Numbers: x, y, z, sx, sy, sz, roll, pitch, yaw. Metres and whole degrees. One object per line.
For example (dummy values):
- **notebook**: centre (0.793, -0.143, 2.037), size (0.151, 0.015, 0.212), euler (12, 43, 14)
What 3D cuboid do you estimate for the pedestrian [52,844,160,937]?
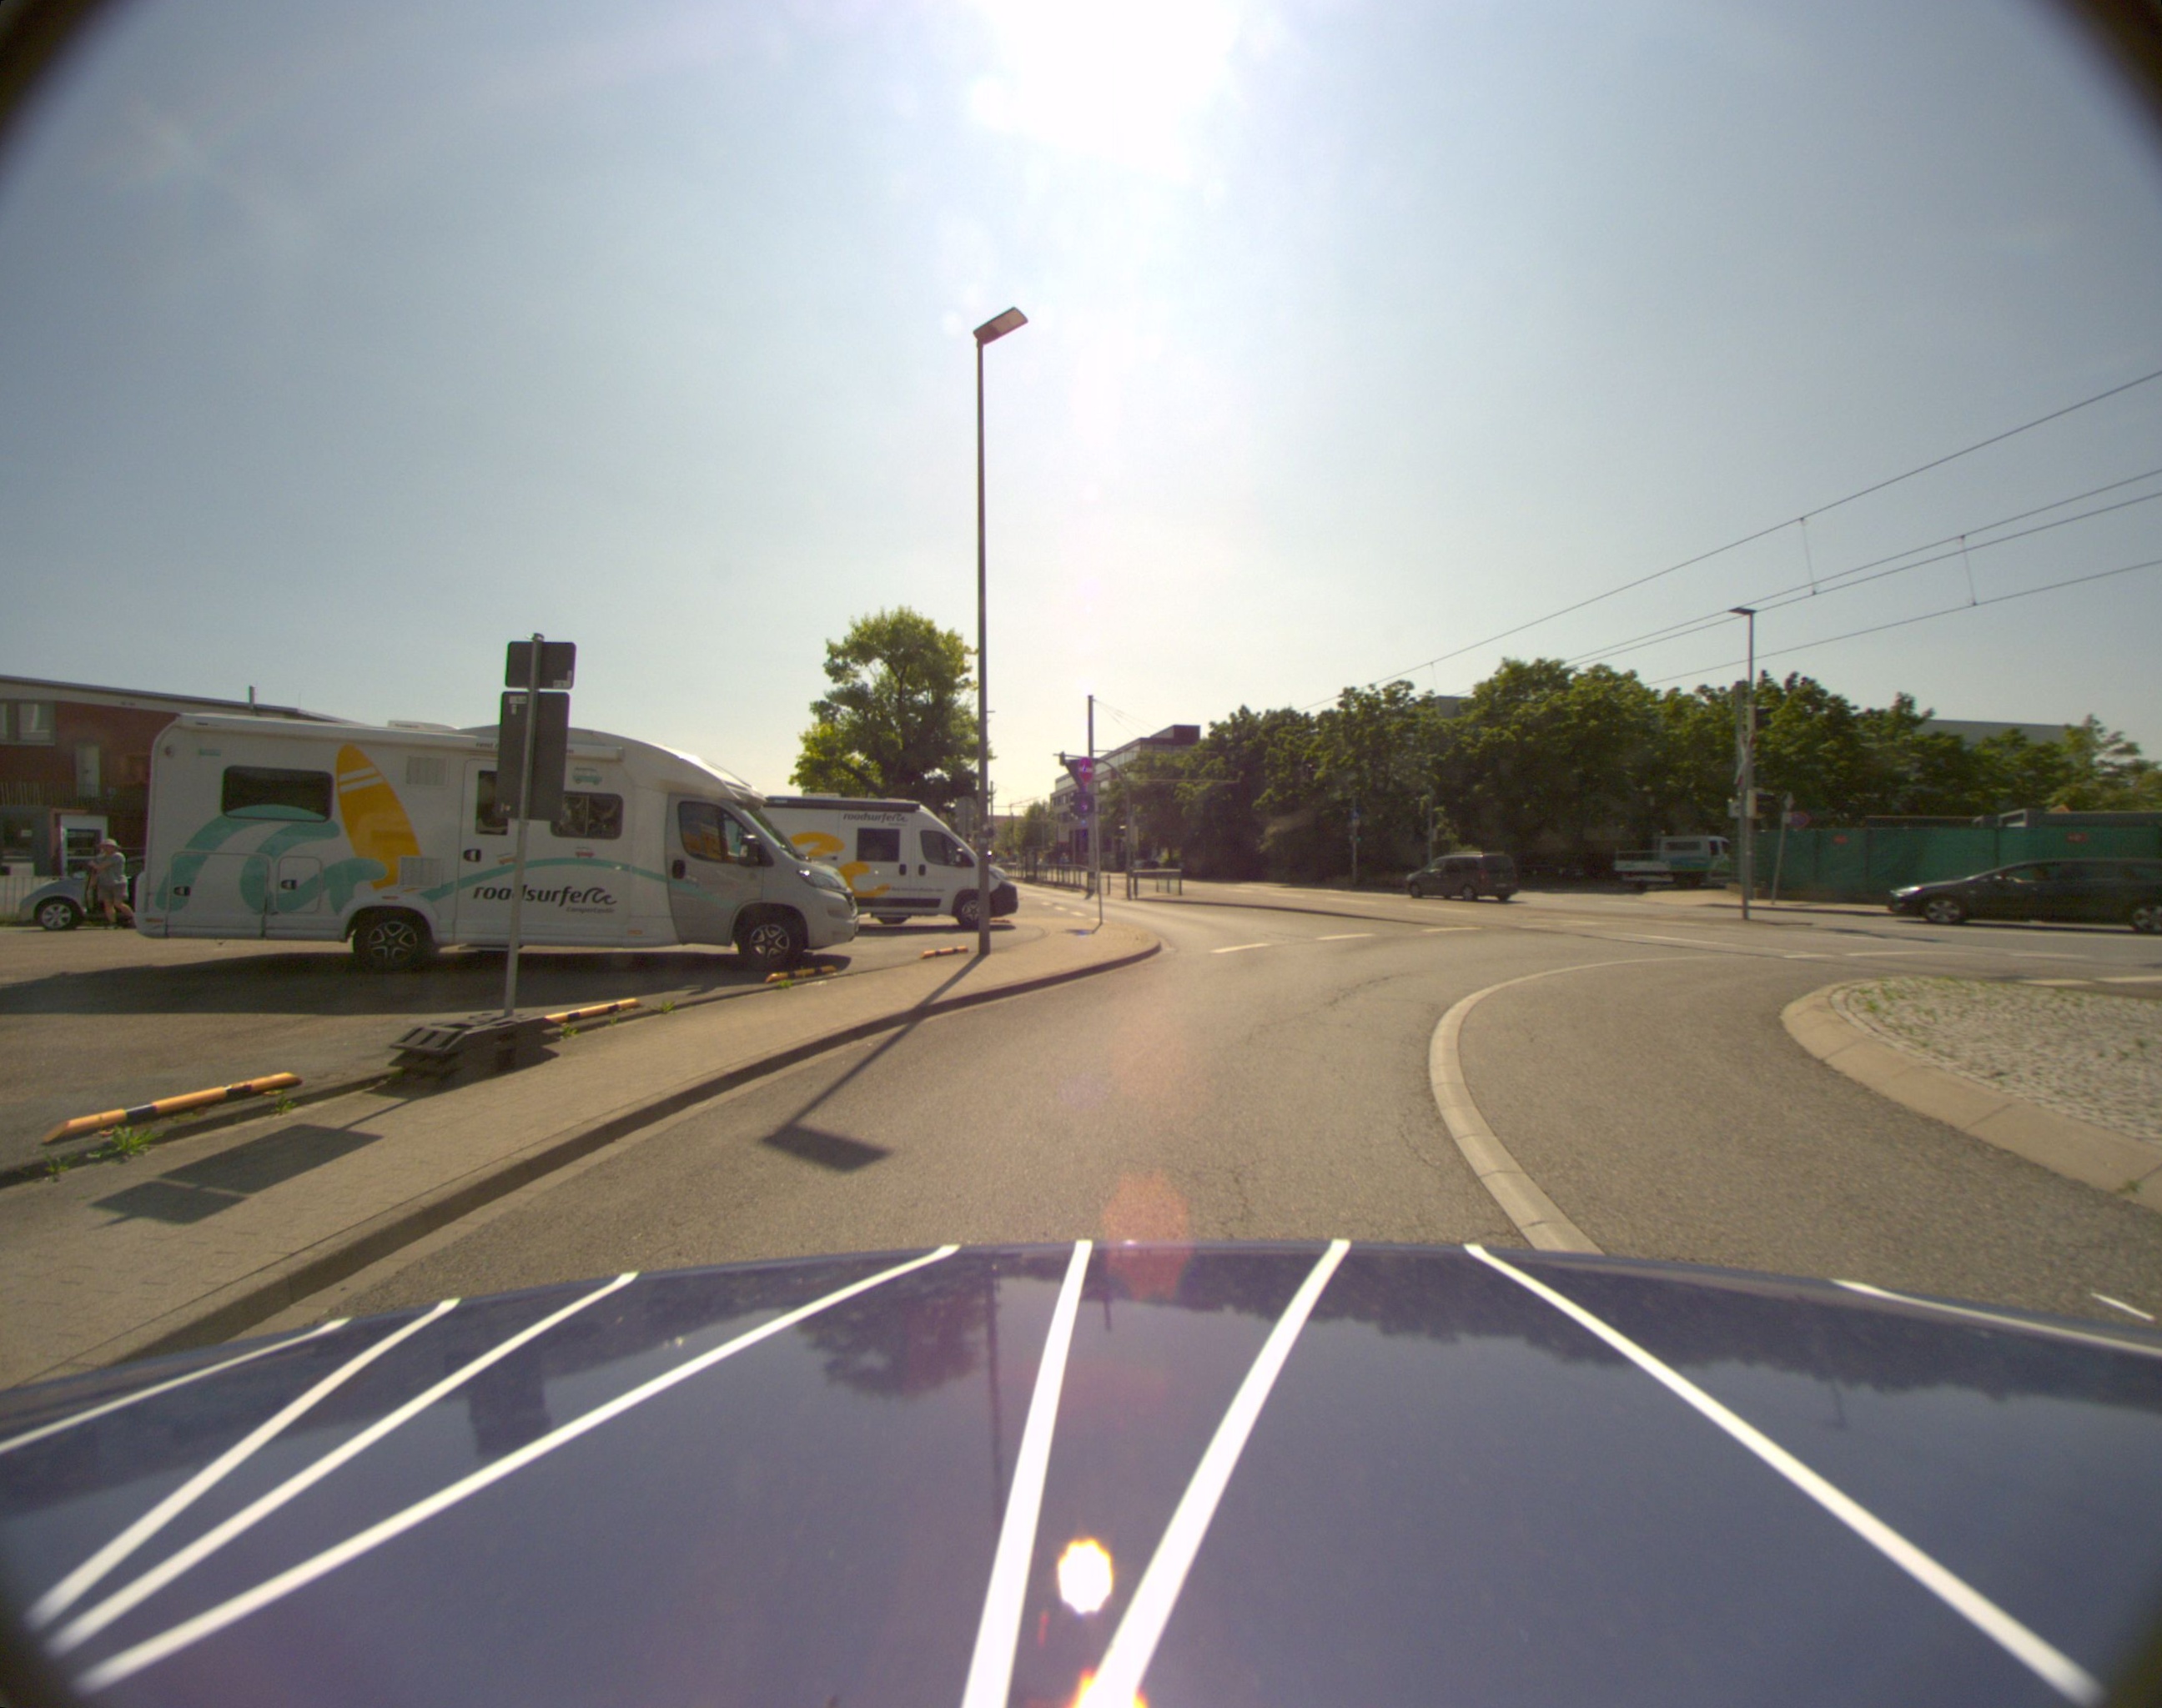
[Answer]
- **pedestrian**: centre (-17.981, 0.649, 14.040), size (0.777, 1.661, 0.945), euler (0, 0, -1)

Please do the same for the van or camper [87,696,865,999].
- **van or camper**: centre (-6.423, 0.015, 9.293), size (7.088, 2.929, 2.332), euler (1, 0, -13)

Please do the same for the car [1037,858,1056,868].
- **car**: centre (-5.116, 1.285, 111.446), size (1.914, 1.433, 4.590), euler (1, -1, -13)

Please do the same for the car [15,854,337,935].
- **car**: centre (-18.378, 0.803, 15.686), size (3.898, 1.506, 1.815), euler (0, -3, -16)

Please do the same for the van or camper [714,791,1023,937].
- **van or camper**: centre (-4.229, 0.225, 15.878), size (5.831, 2.757, 2.089), euler (0, -1, -10)

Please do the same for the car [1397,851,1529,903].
- **car**: centre (14.482, 0.820, 29.118), size (1.991, 1.808, 4.402), euler (-1, 0, -18)

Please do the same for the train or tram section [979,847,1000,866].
- **train or tram section**: centre (-18.140, 0.500, 149.829), size (2.684, 3.464, 12.313), euler (0, 0, -14)

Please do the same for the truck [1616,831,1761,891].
- **truck**: centre (26.054, 0.264, 32.553), size (6.397, 2.323, 2.205), euler (-1, -1, -25)

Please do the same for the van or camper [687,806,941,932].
- **van or camper**: centre (-6.265, 0.350, 18.524), size (5.524, 2.797, 2.047), euler (-1, -2, -9)

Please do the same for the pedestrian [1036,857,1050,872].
- **pedestrian**: centre (-2.952, 0.810, 58.680), size (0.946, 1.093, 0.725), euler (-1, 0, -13)

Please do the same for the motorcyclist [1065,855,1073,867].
- **motorcyclist**: centre (-1.493, 0.845, 93.662), size (0.838, 1.466, 0.962), euler (-1, 0, -13)

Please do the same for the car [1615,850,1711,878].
- **car**: centre (31.583, 0.527, 41.329), size (1.629, 1.458, 3.857), euler (-1, 0, -37)

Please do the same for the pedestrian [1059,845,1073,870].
- **pedestrian**: centre (-1.046, 0.223, 53.109), size (0.726, 1.714, 0.943), euler (-1, 0, -13)

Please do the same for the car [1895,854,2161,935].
- **car**: centre (20.566, 0.797, 16.102), size (1.973, 1.546, 4.232), euler (0, -1, -33)

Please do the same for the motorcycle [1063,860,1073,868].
- **motorcycle**: centre (-1.582, 1.197, 94.077), size (0.825, 1.005, 1.962), euler (-1, 0, -12)

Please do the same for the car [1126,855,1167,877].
- **car**: centre (5.491, 0.990, 63.971), size (1.935, 1.574, 4.184), euler (3, 0, -18)

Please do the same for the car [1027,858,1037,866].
- **car**: centre (-9.878, 1.522, 153.295), size (1.872, 1.608, 3.998), euler (0, 0, -6)
